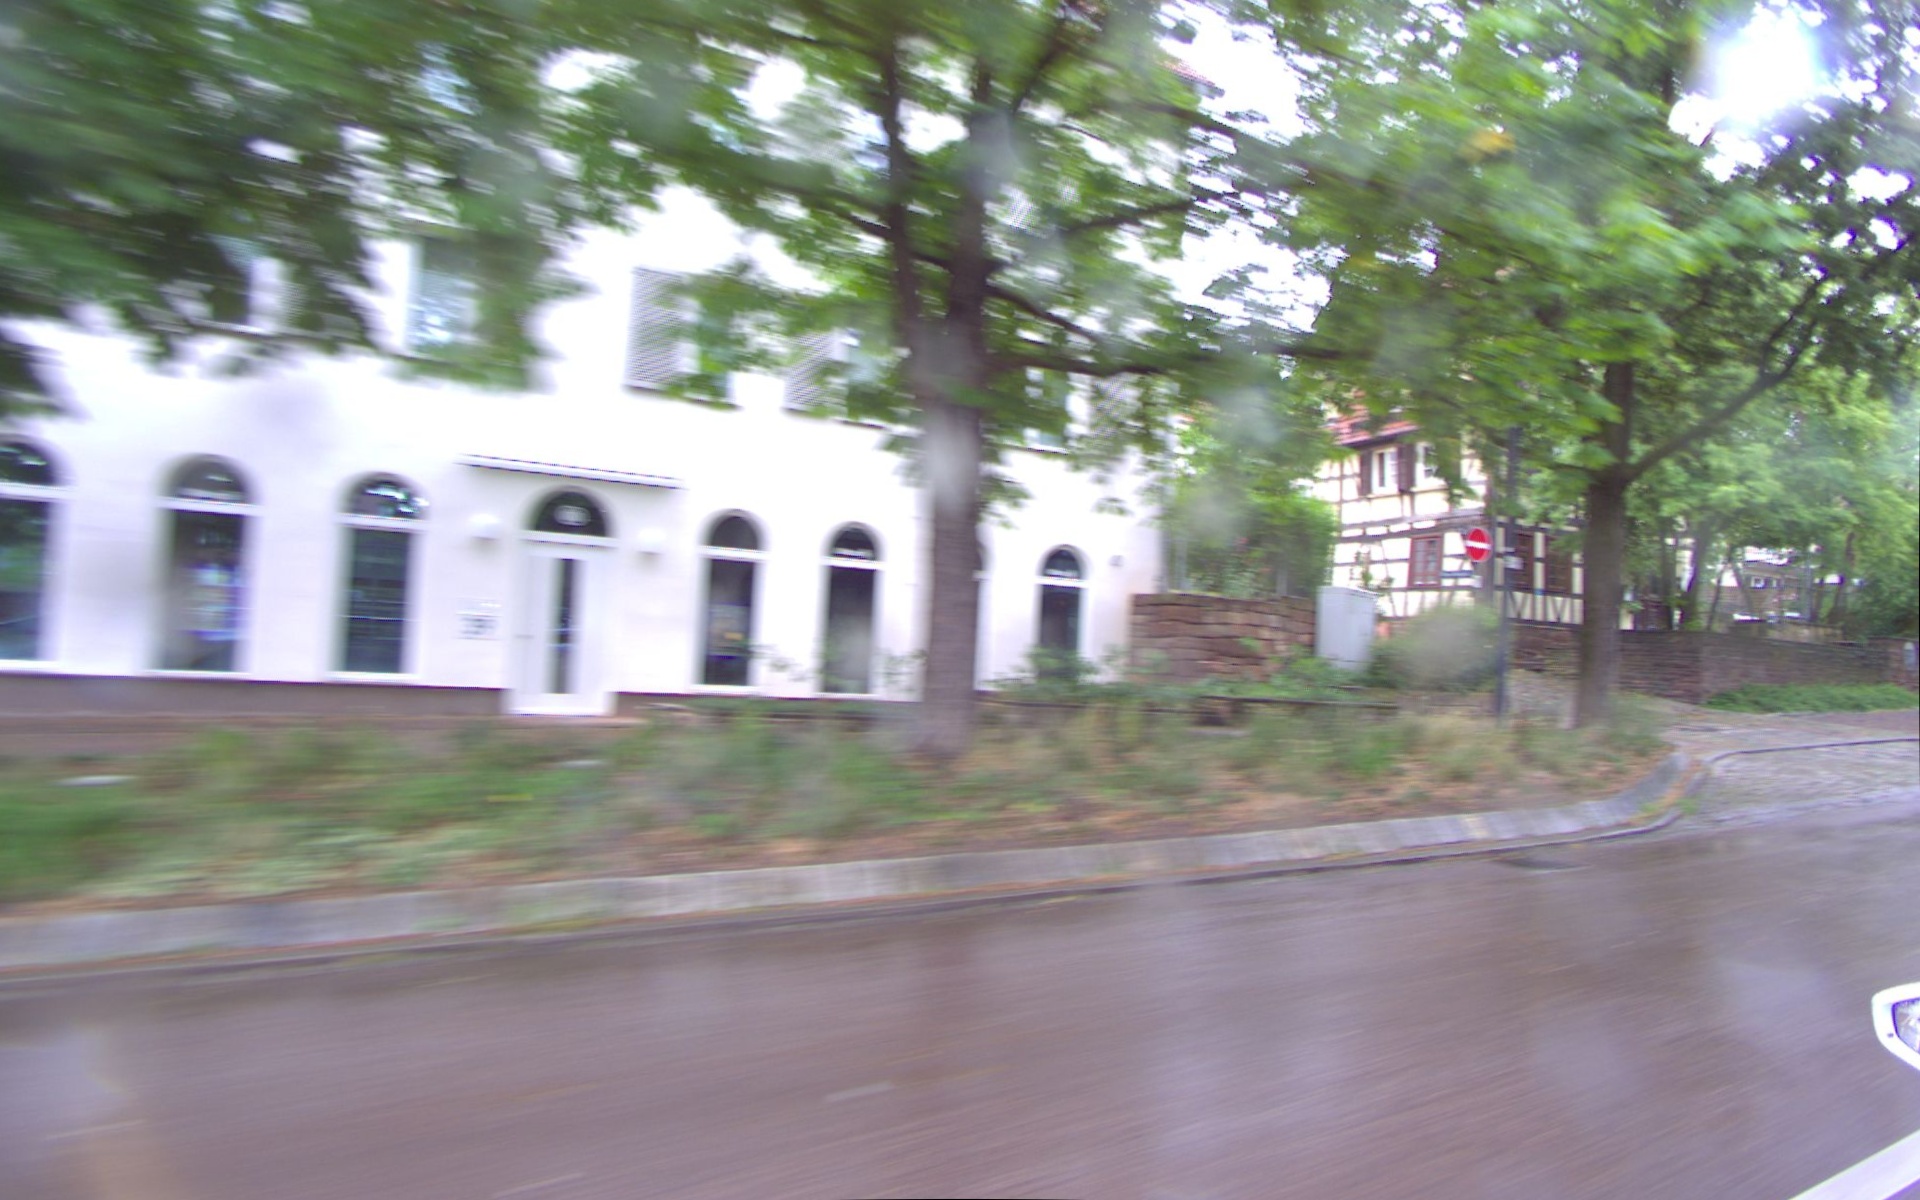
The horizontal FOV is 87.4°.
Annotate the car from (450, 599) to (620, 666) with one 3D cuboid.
[{"bbox_3d":[-10.672,0.837,25.313,3.608,1.361,1.599,4,3,-37],"label":"car"}]
